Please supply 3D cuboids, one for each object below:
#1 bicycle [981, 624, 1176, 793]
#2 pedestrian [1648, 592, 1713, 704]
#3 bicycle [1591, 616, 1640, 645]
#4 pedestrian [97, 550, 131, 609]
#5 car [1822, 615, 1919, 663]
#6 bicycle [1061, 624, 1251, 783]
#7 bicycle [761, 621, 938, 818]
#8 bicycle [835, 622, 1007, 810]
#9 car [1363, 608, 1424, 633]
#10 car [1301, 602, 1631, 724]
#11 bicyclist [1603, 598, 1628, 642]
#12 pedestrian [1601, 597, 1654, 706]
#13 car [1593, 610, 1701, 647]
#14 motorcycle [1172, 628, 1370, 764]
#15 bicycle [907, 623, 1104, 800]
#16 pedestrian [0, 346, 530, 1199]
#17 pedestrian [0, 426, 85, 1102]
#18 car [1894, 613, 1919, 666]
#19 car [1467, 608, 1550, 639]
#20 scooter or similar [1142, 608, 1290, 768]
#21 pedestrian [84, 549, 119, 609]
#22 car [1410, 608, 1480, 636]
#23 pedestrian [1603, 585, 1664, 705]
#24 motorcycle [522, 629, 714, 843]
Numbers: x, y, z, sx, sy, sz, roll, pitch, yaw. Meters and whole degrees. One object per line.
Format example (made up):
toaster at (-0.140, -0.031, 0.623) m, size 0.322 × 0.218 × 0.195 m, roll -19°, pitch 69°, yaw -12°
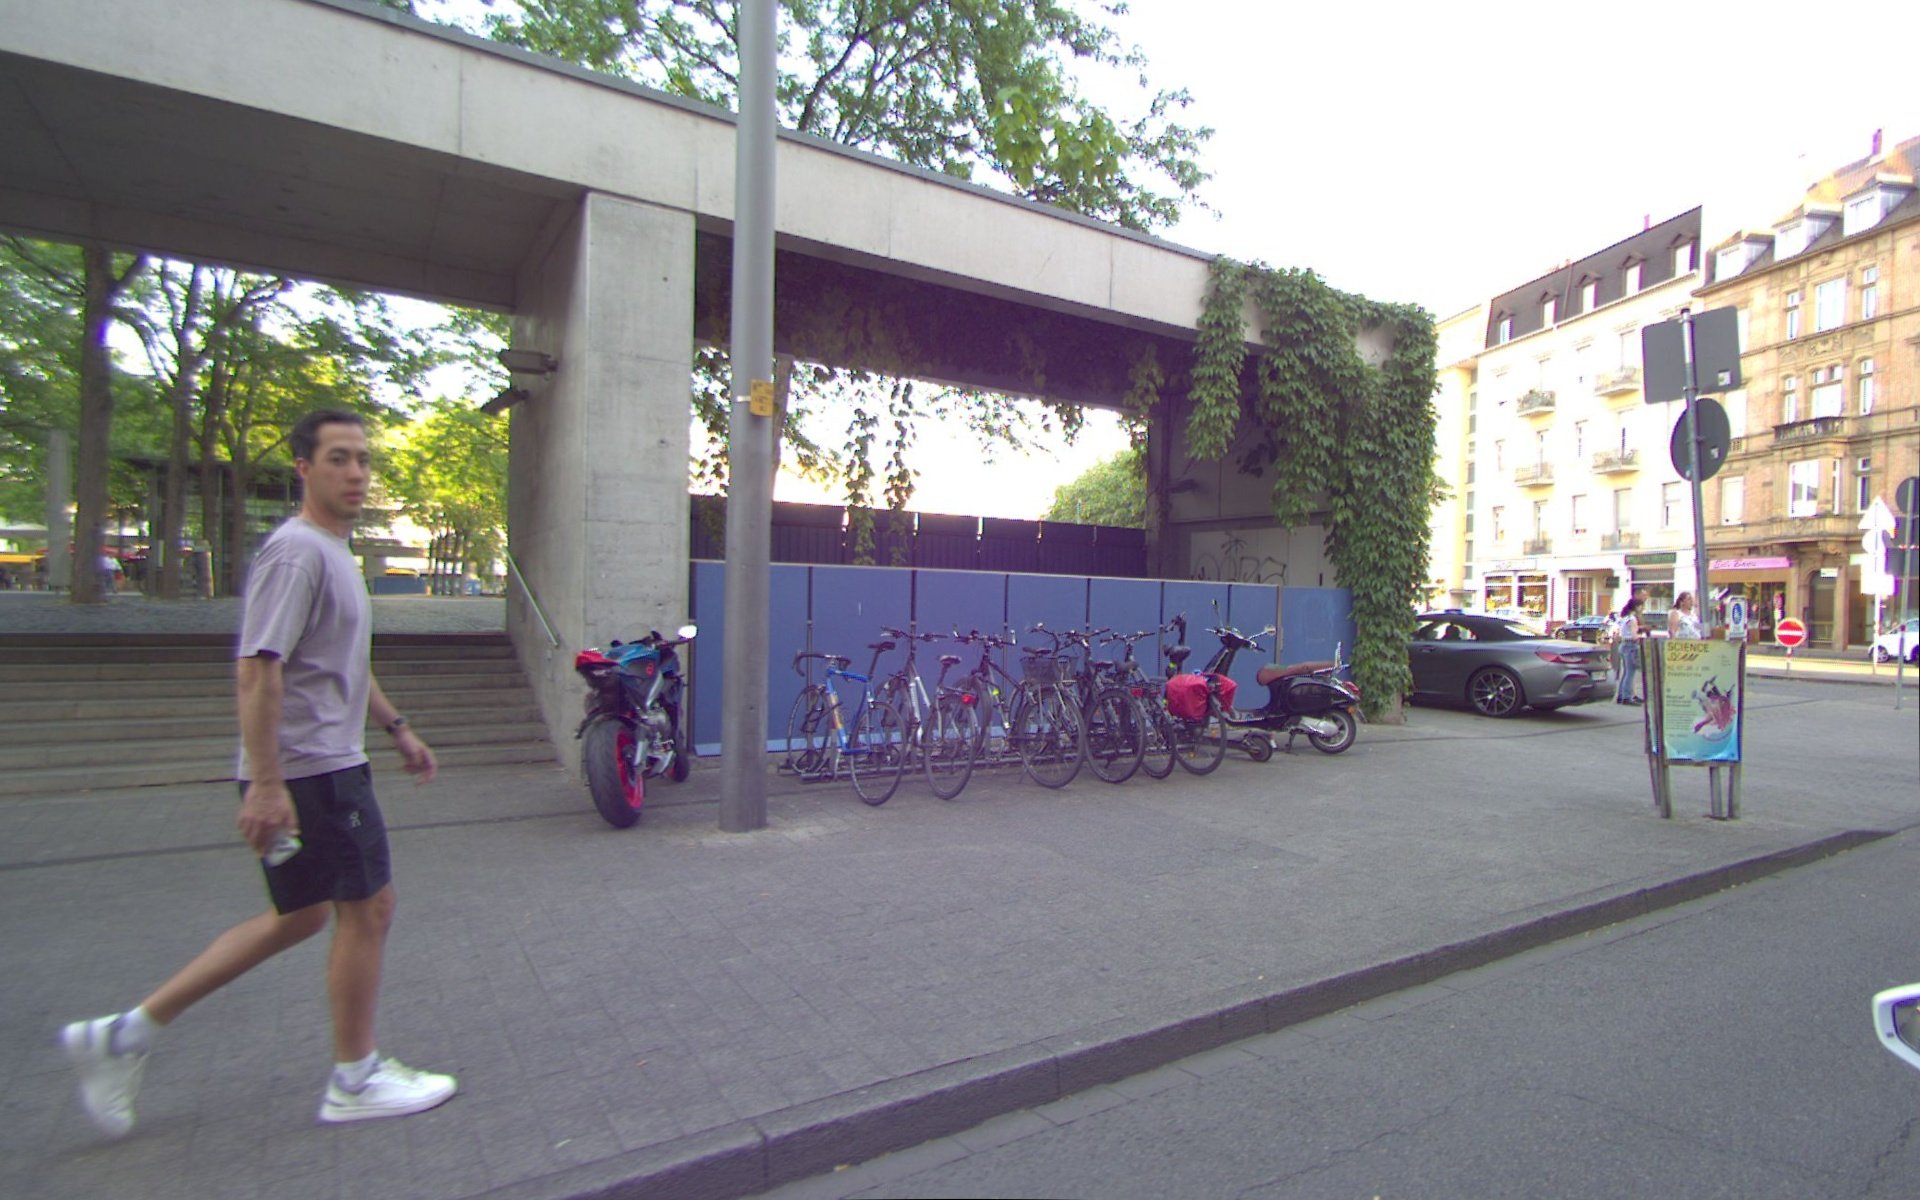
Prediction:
bicycle at (0.899, 0.804, 8.118) m, size 0.495 × 1.122 × 1.783 m, roll 1°, pitch 2°, yaw -34°
pedestrian at (11.665, 0.757, 16.278) m, size 0.644 × 1.769 × 0.674 m, roll 1°, pitch 0°, yaw 14°
bicycle at (27.301, 1.264, 41.853) m, size 0.529 × 1.122 × 1.794 m, roll 1°, pitch 1°, yaw -16°
pedestrian at (-34.749, -0.827, 41.248) m, size 0.726 × 2.362 × 0.815 m, roll 1°, pitch 0°, yaw -10°
car at (32.086, 1.325, 34.187) m, size 1.767 × 1.530 × 3.994 m, roll 2°, pitch -1°, yaw -9°
bicycle at (1.610, 0.815, 8.574) m, size 0.494 × 1.122 × 1.784 m, roll 1°, pitch 2°, yaw -31°
bicycle at (-0.837, 0.759, 7.079) m, size 0.494 × 1.122 × 1.784 m, roll 1°, pitch 2°, yaw -32°
bicycle at (-0.344, 0.770, 7.398) m, size 0.494 × 1.122 × 1.786 m, roll 1°, pitch 2°, yaw -29°
car at (27.888, 1.292, 64.732) m, size 1.767 × 1.530 × 3.994 m, roll 2°, pitch -1°, yaw -9°
car at (7.325, 0.808, 14.839) m, size 1.875 × 1.521 × 3.954 m, roll 1°, pitch 0°, yaw -39°
bicyclist at (27.306, 0.827, 41.855) m, size 0.517 × 1.780 × 0.617 m, roll 1°, pitch 1°, yaw -16°
pedestrian at (10.429, 0.790, 15.702) m, size 0.514 × 1.665 × 0.498 m, roll 1°, pitch 0°, yaw -30°
car at (30.983, 1.250, 45.417) m, size 1.767 × 1.530 × 3.994 m, roll 2°, pitch -1°, yaw -9°
motorcycle at (2.959, 0.873, 9.591) m, size 1.718 × 1.116 × 0.566 m, roll 3°, pitch 2°, yaw 25°
bicycle at (0.292, 0.789, 7.778) m, size 0.495 × 1.122 × 1.781 m, roll 1°, pitch 2°, yaw -36°
pedestrian at (-1.760, 0.432, 2.657) m, size 1.038 × 1.919 × 0.740 m, roll 1°, pitch 2°, yaw -31°
pedestrian at (-3.157, 0.430, 2.777) m, size 0.998 × 1.837 × 0.737 m, roll 1°, pitch 3°, yaw -32°
car at (28.287, 1.136, 27.548) m, size 1.845 × 1.492 × 4.002 m, roll 1°, pitch 0°, yaw 5°
car at (28.965, 1.241, 53.194) m, size 1.767 × 1.530 × 3.994 m, roll 2°, pitch -1°, yaw -9°
scooter or similar at (2.277, 0.744, 9.007) m, size 1.191 × 1.291 × 0.419 m, roll 3°, pitch 2°, yaw 43°
pedestrian at (-34.478, -0.829, 40.347) m, size 0.726 × 2.362 × 0.815 m, roll 1°, pitch 0°, yaw -9°
car at (28.341, 1.265, 58.827) m, size 1.767 × 1.530 × 3.994 m, roll 2°, pitch -1°, yaw -9°
pedestrian at (10.929, 0.715, 16.306) m, size 0.625 × 1.907 × 0.581 m, roll 1°, pitch 0°, yaw -26°
motorcycle at (-2.095, 0.781, 6.420) m, size 0.750 × 1.078 × 1.804 m, roll 2°, pitch 1°, yaw -6°
